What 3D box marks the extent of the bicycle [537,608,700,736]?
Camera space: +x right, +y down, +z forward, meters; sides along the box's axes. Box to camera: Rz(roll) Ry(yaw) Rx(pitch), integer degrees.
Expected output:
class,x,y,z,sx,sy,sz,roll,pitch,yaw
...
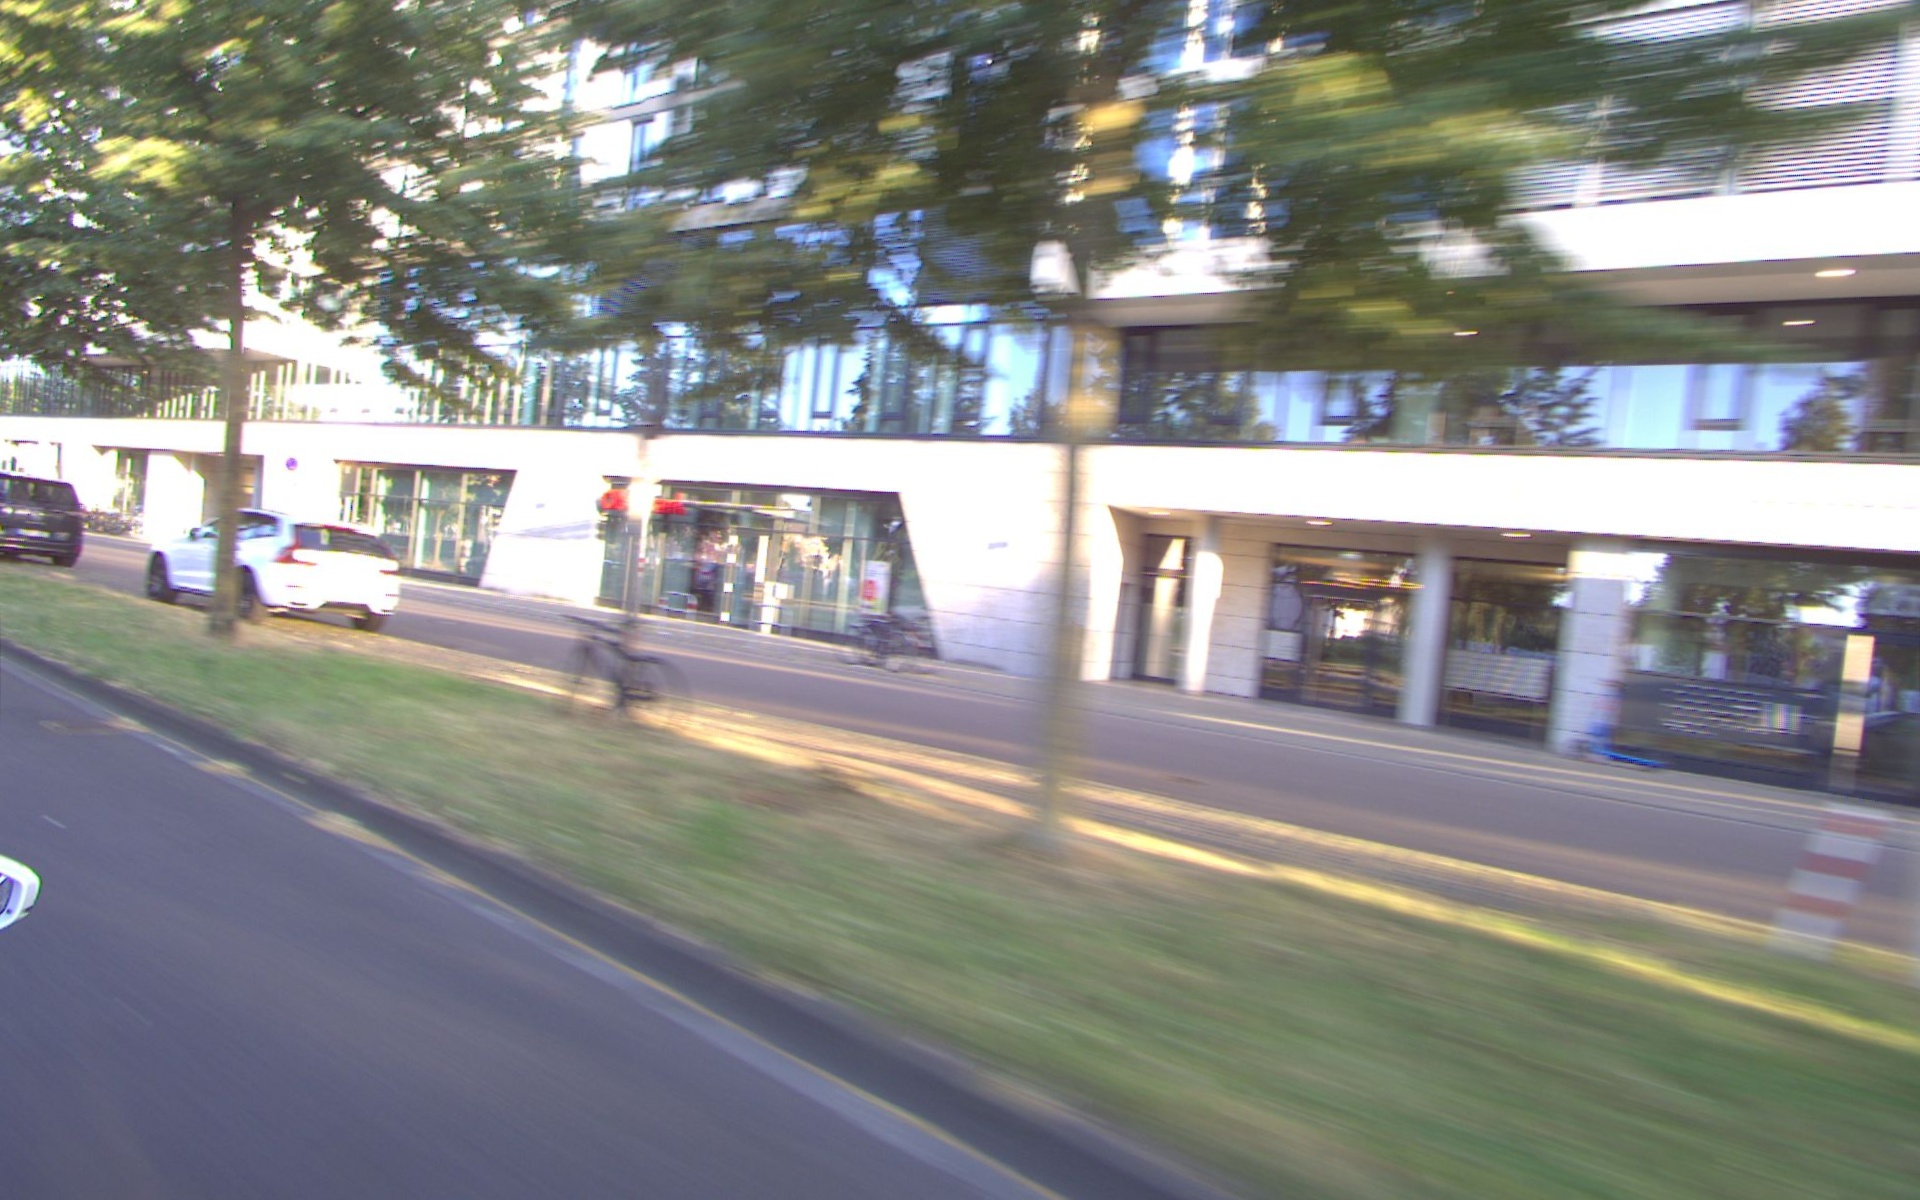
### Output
class,x,y,z,sx,sy,sz,roll,pitch,yaw
bicycle,-2.837,0.568,8.290,1.526,0.834,0.315,7,1,32

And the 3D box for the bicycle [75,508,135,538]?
class,x,y,z,sx,sy,sz,roll,pitch,yaw
bicycle,-34.489,-3.084,40.613,0.397,0.964,1.745,7,0,31

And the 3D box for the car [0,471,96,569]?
class,x,y,z,sx,sy,sz,roll,pitch,yaw
car,-21.233,-1.882,21.990,4.585,1.875,1.997,7,1,29

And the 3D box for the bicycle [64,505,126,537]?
class,x,y,z,sx,sy,sz,roll,pitch,yaw
bicycle,-35.729,-3.259,41.577,0.397,1.070,1.833,7,0,31

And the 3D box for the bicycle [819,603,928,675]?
class,x,y,z,sx,sy,sz,roll,pitch,yaw
bicycle,-1.551,0.687,17.954,1.861,1.052,0.595,7,1,32

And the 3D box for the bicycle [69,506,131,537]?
class,x,y,z,sx,sy,sz,roll,pitch,yaw
bicycle,-34.905,-3.176,40.845,0.397,0.999,1.833,7,0,31

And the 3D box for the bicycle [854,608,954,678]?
class,x,y,z,sx,sy,sz,roll,pitch,yaw
bicycle,-1.039,0.765,18.304,1.777,1.052,0.470,7,1,32

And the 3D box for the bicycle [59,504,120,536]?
class,x,y,z,sx,sy,sz,roll,pitch,yaw
bicycle,-36.149,-3.308,41.802,0.438,1.060,1.833,7,0,31

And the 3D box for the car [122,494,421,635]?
class,x,y,z,sx,sy,sz,roll,pitch,yaw
car,-10.818,-0.581,15.719,4.797,1.663,1.995,7,0,32

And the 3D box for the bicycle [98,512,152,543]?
class,x,y,z,sx,sy,sz,roll,pitch,yaw
bicycle,-33.475,-2.899,40.347,0.397,0.999,1.577,7,0,31

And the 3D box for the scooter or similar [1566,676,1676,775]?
class,x,y,z,sx,sy,sz,roll,pitch,yaw
scooter or similar,9.649,1.812,14.721,1.208,1.227,0.472,7,1,32

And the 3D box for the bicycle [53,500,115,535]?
class,x,y,z,sx,sy,sz,roll,pitch,yaw
bicycle,-36.591,-3.419,42.030,0.438,1.192,1.832,7,0,31
